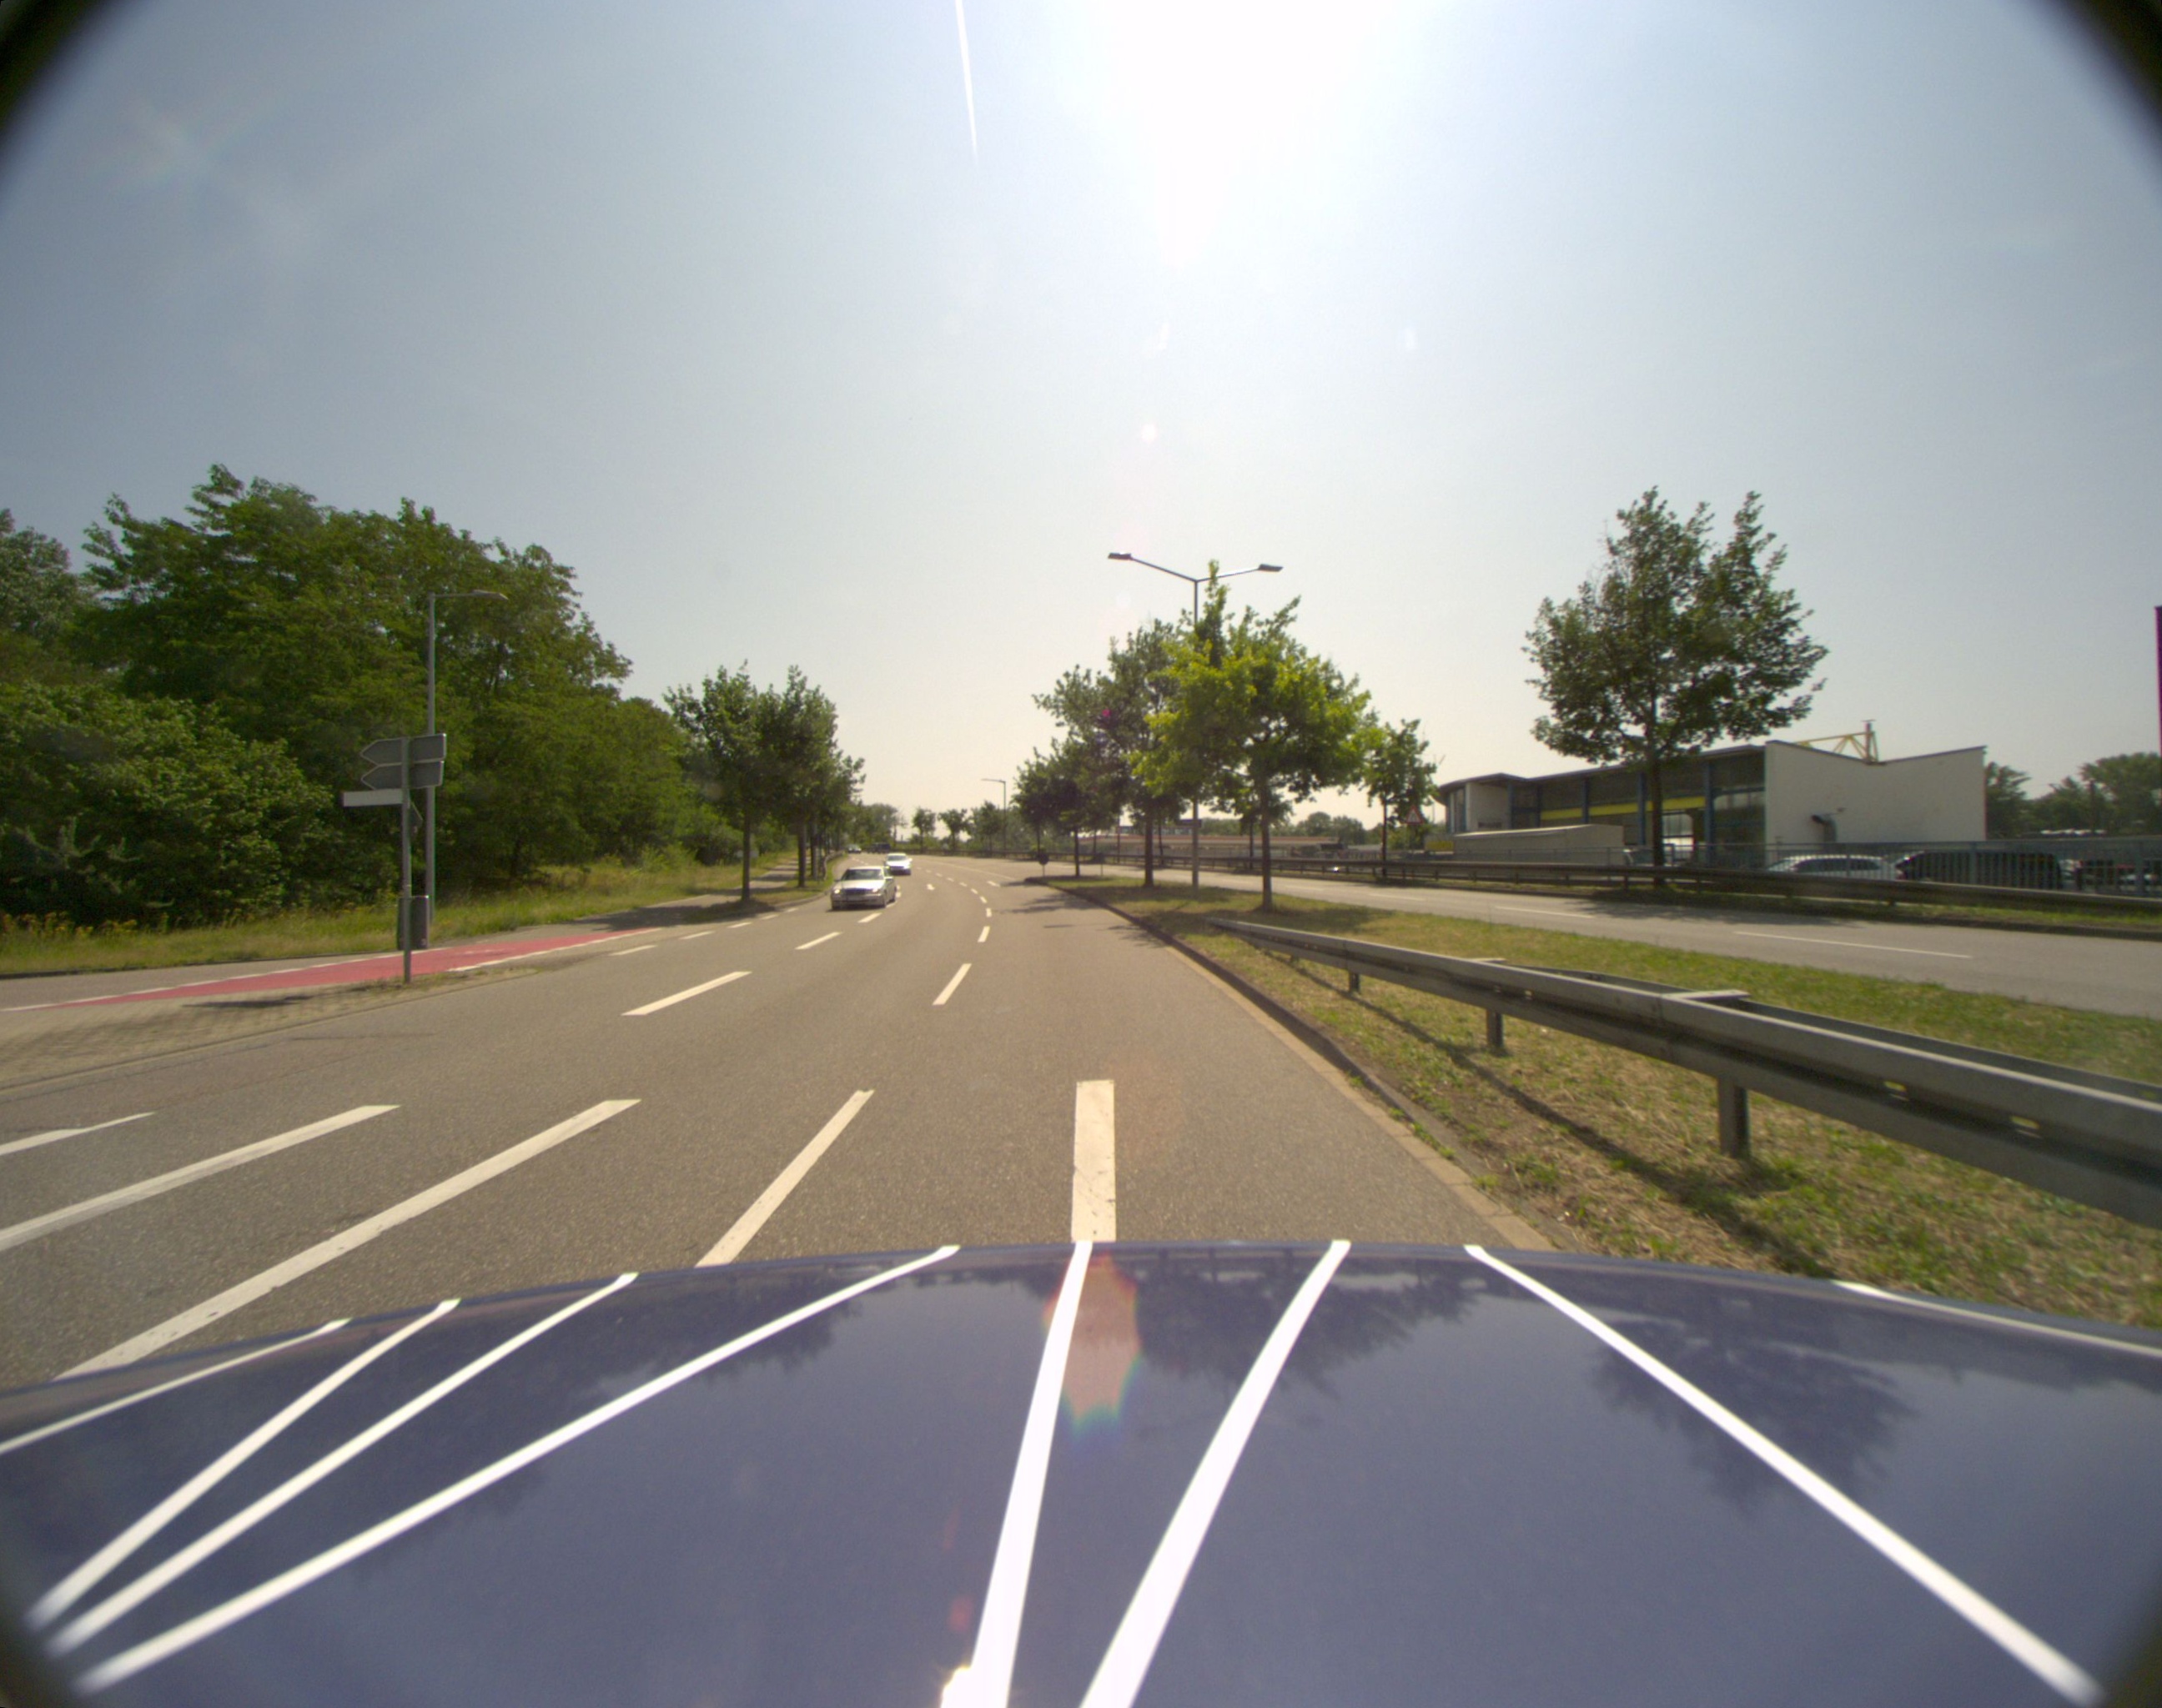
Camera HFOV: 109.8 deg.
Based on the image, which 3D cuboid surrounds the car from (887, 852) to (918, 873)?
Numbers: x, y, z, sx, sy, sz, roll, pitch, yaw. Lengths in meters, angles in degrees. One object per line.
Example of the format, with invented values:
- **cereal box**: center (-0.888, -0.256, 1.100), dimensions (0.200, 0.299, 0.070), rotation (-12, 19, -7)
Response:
- **car**: center (-12.246, 0.545, 52.404), dimensions (2.001, 1.361, 4.228), rotation (-1, 0, -12)

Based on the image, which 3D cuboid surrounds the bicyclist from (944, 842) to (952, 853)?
- **bicyclist**: center (-18.735, -0.889, 107.135), dimensions (0.733, 1.457, 0.822), rotation (4, 0, -30)

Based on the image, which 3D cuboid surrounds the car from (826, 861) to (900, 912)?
- **car**: center (-7.477, 1.055, 26.403), dimensions (1.764, 1.490, 4.230), rotation (-1, 1, -7)

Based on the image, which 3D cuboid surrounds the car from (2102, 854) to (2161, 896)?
- **car**: center (38.099, 0.694, 25.668), dimensions (3.989, 1.371, 1.662), rotation (-1, 1, 28)

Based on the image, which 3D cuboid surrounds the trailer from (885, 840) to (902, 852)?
- **trailer**: center (-26.882, -1.097, 108.894), dimensions (1.512, 1.605, 3.301), rotation (-1, -1, -29)

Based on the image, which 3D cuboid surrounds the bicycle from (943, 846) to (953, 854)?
- **bicycle**: center (-18.758, -0.584, 107.145), dimensions (0.738, 1.110, 2.040), rotation (4, 0, -30)

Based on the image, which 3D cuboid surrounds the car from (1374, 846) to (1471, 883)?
- **car**: center (16.132, 0.449, 36.162), dimensions (1.904, 1.560, 4.635), rotation (1, 1, -10)

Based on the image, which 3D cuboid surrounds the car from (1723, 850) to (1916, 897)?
- **car**: center (22.801, 0.584, 23.654), dimensions (3.991, 1.371, 1.662), rotation (-1, 1, 21)

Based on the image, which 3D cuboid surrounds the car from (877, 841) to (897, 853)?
- **car**: center (-28.710, -0.999, 112.290), dimensions (1.924, 1.642, 4.398), rotation (0, -1, -29)
